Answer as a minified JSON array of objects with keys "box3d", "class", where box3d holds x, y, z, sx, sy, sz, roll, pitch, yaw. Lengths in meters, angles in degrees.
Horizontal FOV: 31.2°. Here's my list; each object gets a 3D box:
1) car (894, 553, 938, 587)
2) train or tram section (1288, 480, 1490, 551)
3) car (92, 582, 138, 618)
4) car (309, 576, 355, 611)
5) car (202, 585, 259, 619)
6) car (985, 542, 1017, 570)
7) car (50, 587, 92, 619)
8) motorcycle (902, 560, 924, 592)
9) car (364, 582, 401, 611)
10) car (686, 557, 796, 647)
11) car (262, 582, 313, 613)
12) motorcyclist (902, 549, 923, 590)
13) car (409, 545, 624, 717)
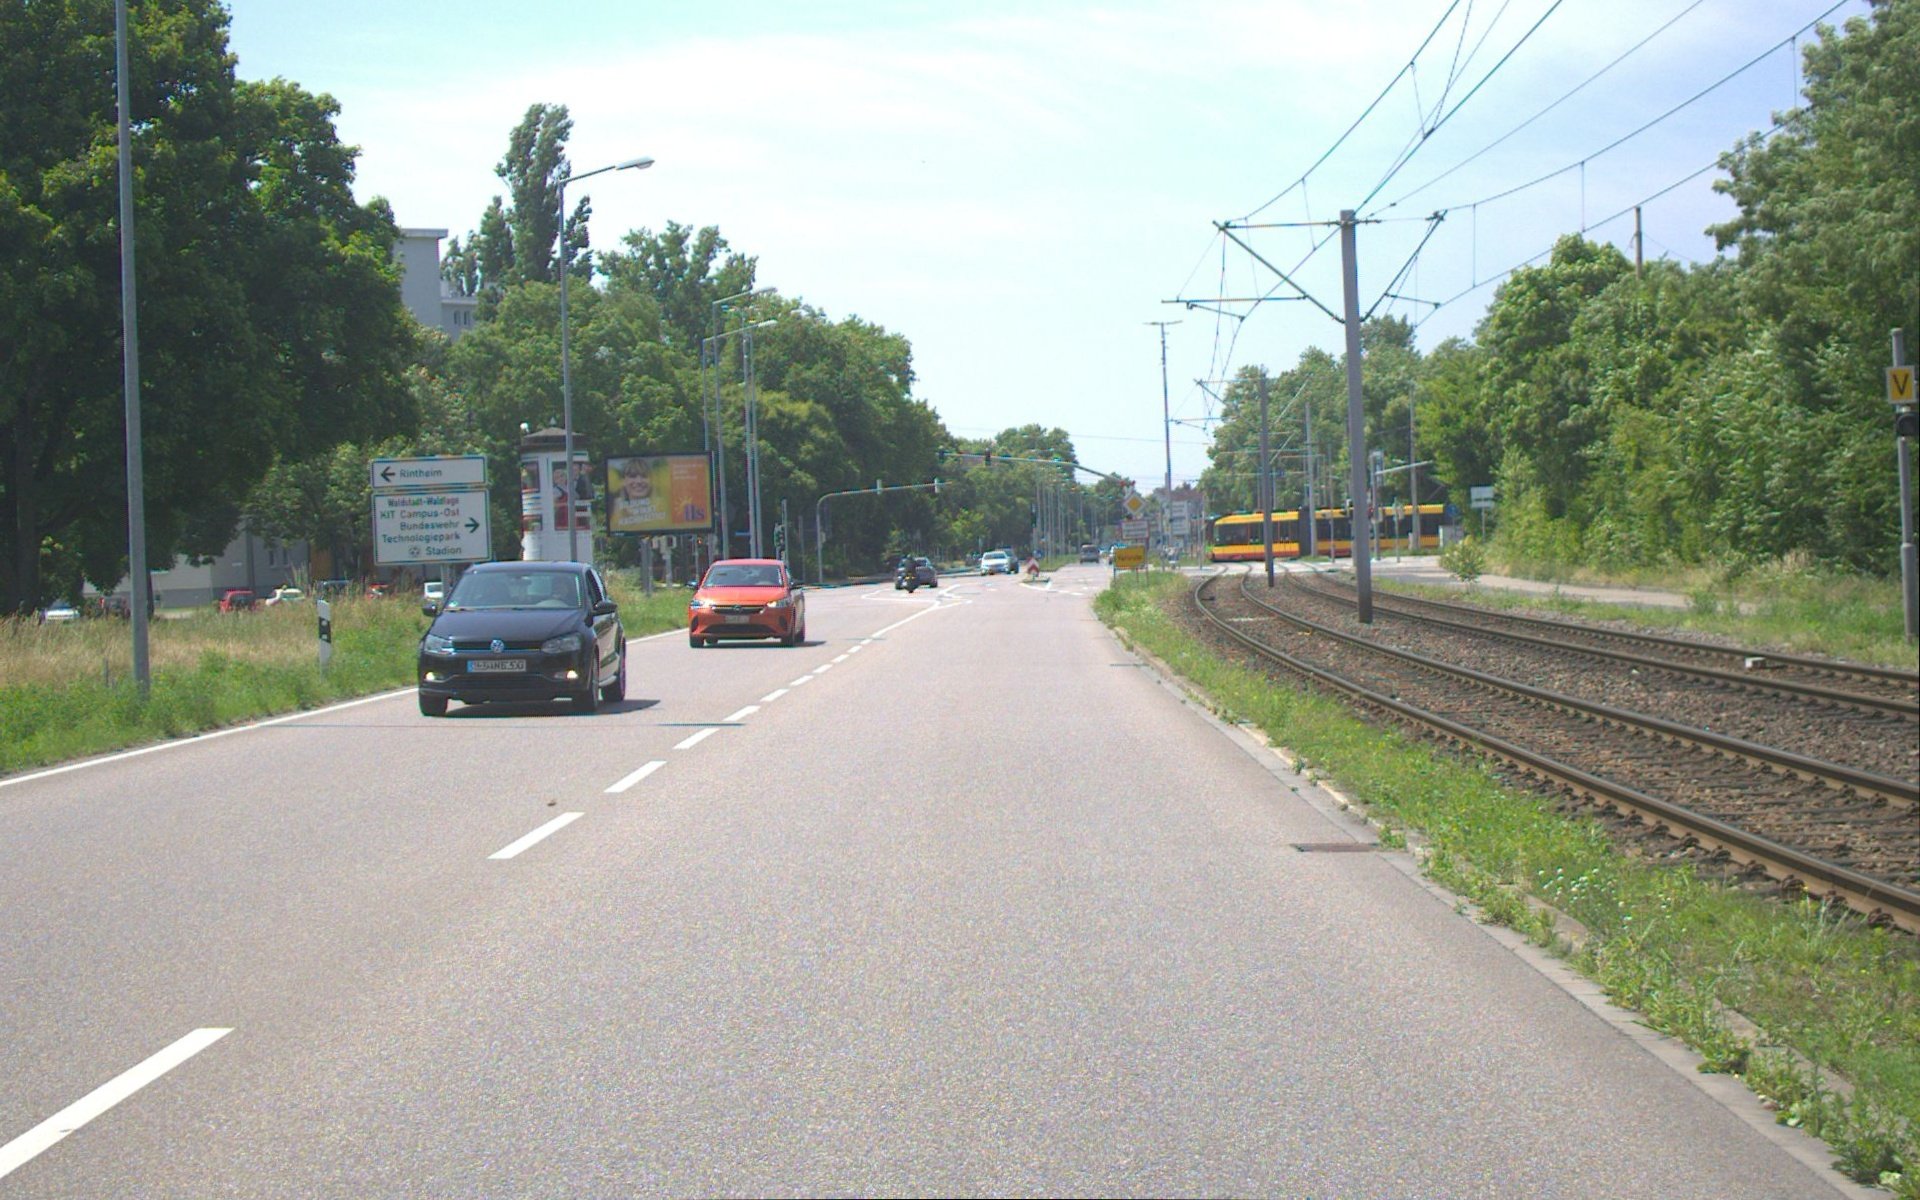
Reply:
[{"box3d":[-2.003,-1.387,157.228,1.906,1.494,4.630,-1,1,1],"class":"car"},{"box3d":[28.448,-5.583,228.869,13.951,3.906,2.917,-3,-3,41],"class":"train or tram section"},{"box3d":[-43.900,-0.031,178.583,1.846,1.705,4.001,-2,2,-20],"class":"car"},{"box3d":[-33.217,-0.360,181.752,1.704,1.794,4.001,-2,1,-20],"class":"car"},{"box3d":[-38.251,0.125,180.122,1.846,1.662,4.000,-3,1,-27],"class":"car"},{"box3d":[2.584,-2.748,215.080,1.784,1.623,3.865,-2,1,3],"class":"car"},{"box3d":[-45.866,0.143,177.300,1.688,1.557,3.839,-3,1,-19],"class":"car"},{"box3d":[-1.912,-0.969,138.629,0.847,1.251,2.449,-1,1,-1],"class":"motorcycle"},{"box3d":[-30.633,-0.201,182.317,1.617,1.459,4.001,-1,1,-13],"class":"car"},{"box3d":[-3.614,0.005,57.181,1.679,1.394,4.000,-1,1,-2],"class":"car"},{"box3d":[-35.399,-0.147,180.934,1.704,1.586,4.001,-2,1,-24],"class":"car"},{"box3d":[-1.916,-1.219,138.460,0.790,1.637,1.211,-1,1,-1],"class":"motorcyclist"},{"box3d":[-4.275,0.253,33.648,1.684,1.564,3.968,-1,1,-2],"class":"car"}]
